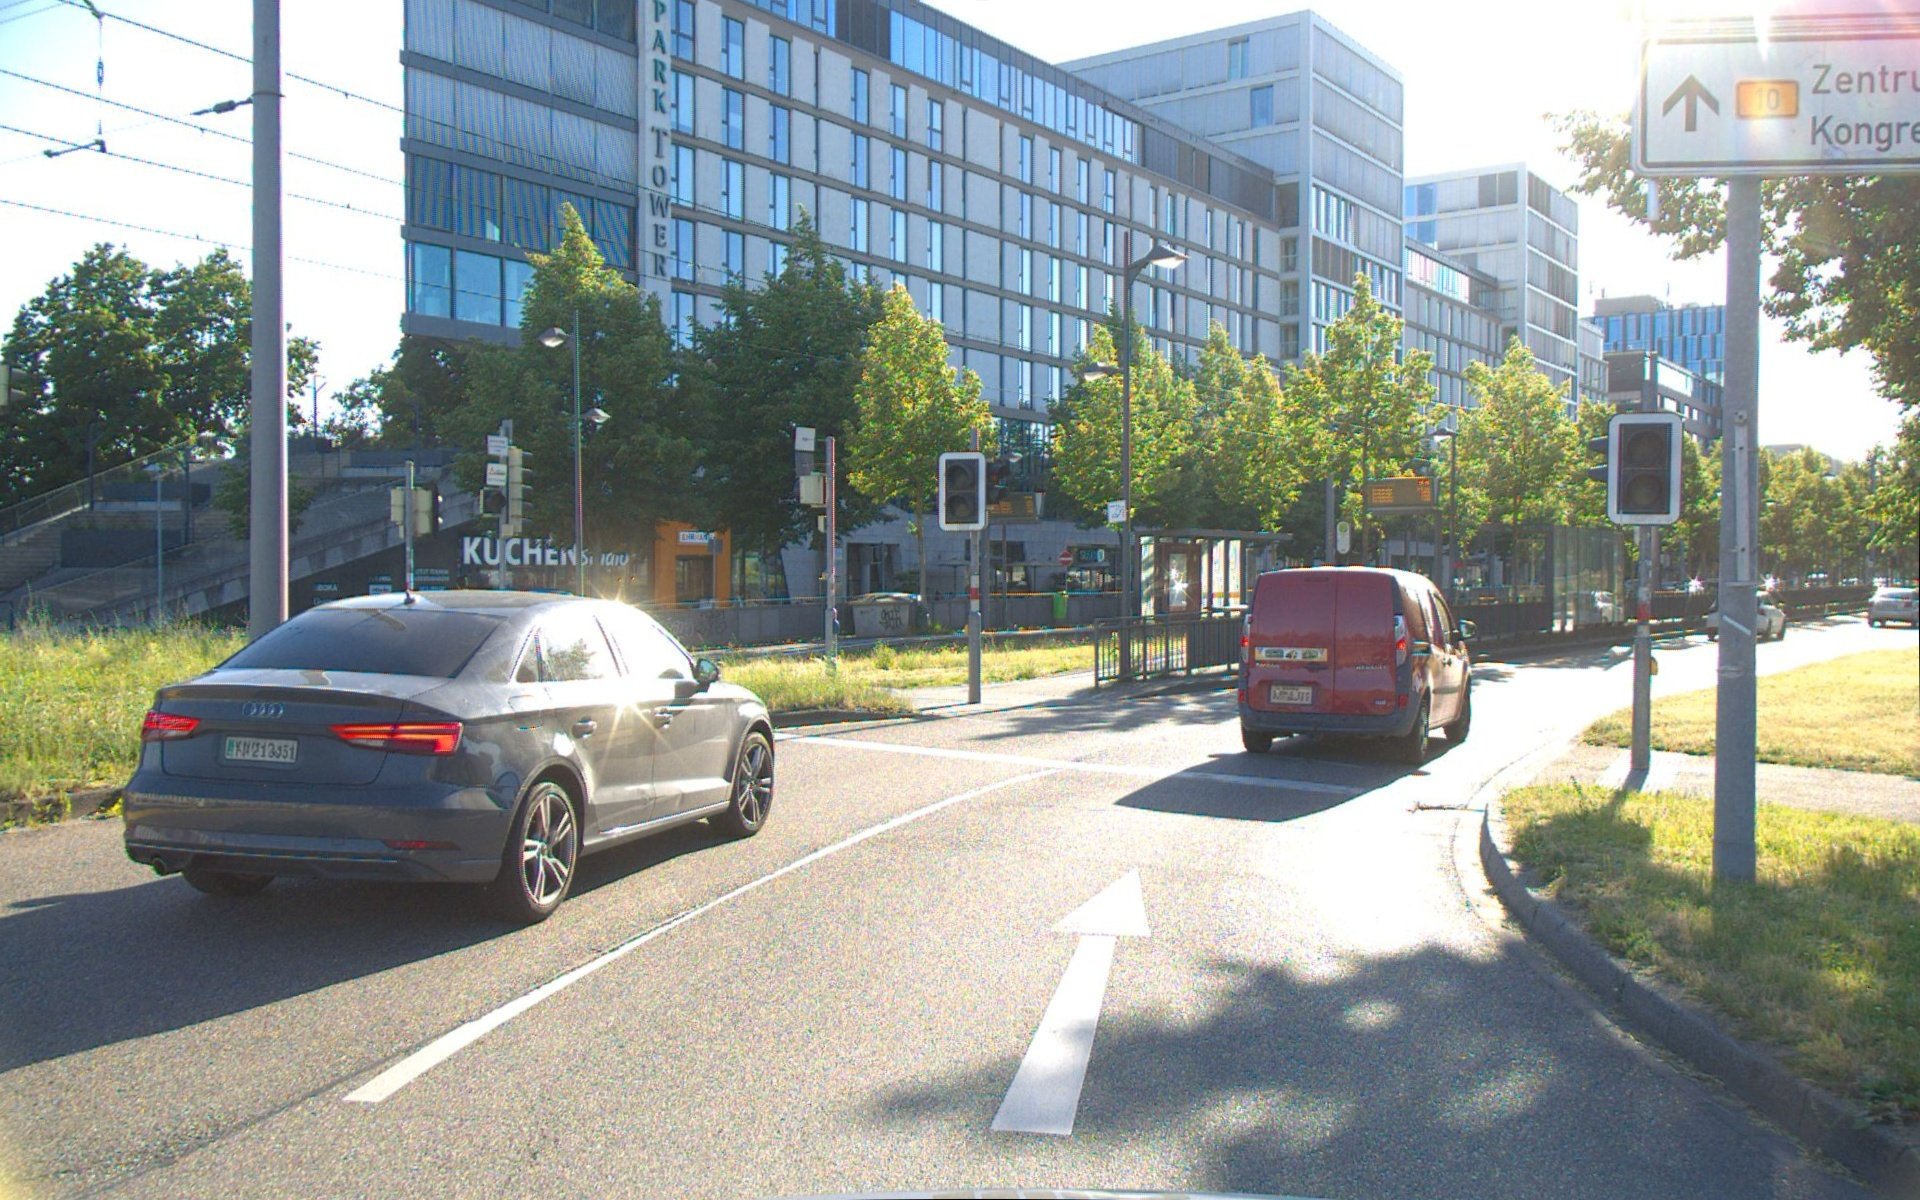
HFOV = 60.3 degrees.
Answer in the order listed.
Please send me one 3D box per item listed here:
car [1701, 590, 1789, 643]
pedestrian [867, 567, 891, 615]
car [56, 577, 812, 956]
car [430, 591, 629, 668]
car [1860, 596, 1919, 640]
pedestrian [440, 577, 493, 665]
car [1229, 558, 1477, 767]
[{"bbox_3d":[24.128,0.478,50.776,1.773,1.486,3.795,2,2,36],"label":"car"},{"bbox_3d":[-3.484,-0.392,71.466,0.627,2.049,0.830,1,0,37],"label":"pedestrian"},{"bbox_3d":[-2.276,0.624,8.546,1.723,1.404,4.362,1,0,13],"label":"car"},{"bbox_3d":[-9.516,0.623,36.783,1.903,1.602,3.957,1,0,39],"label":"car"},{"bbox_3d":[37.086,0.681,65.562,1.960,1.602,4.392,0,1,35],"label":"car"},{"bbox_3d":[-8.504,0.353,28.495,0.544,1.491,0.675,1,0,33],"label":"pedestrian"},{"bbox_3d":[4.110,0.567,16.840,1.766,1.845,3.807,1,0,24],"label":"car"}]
